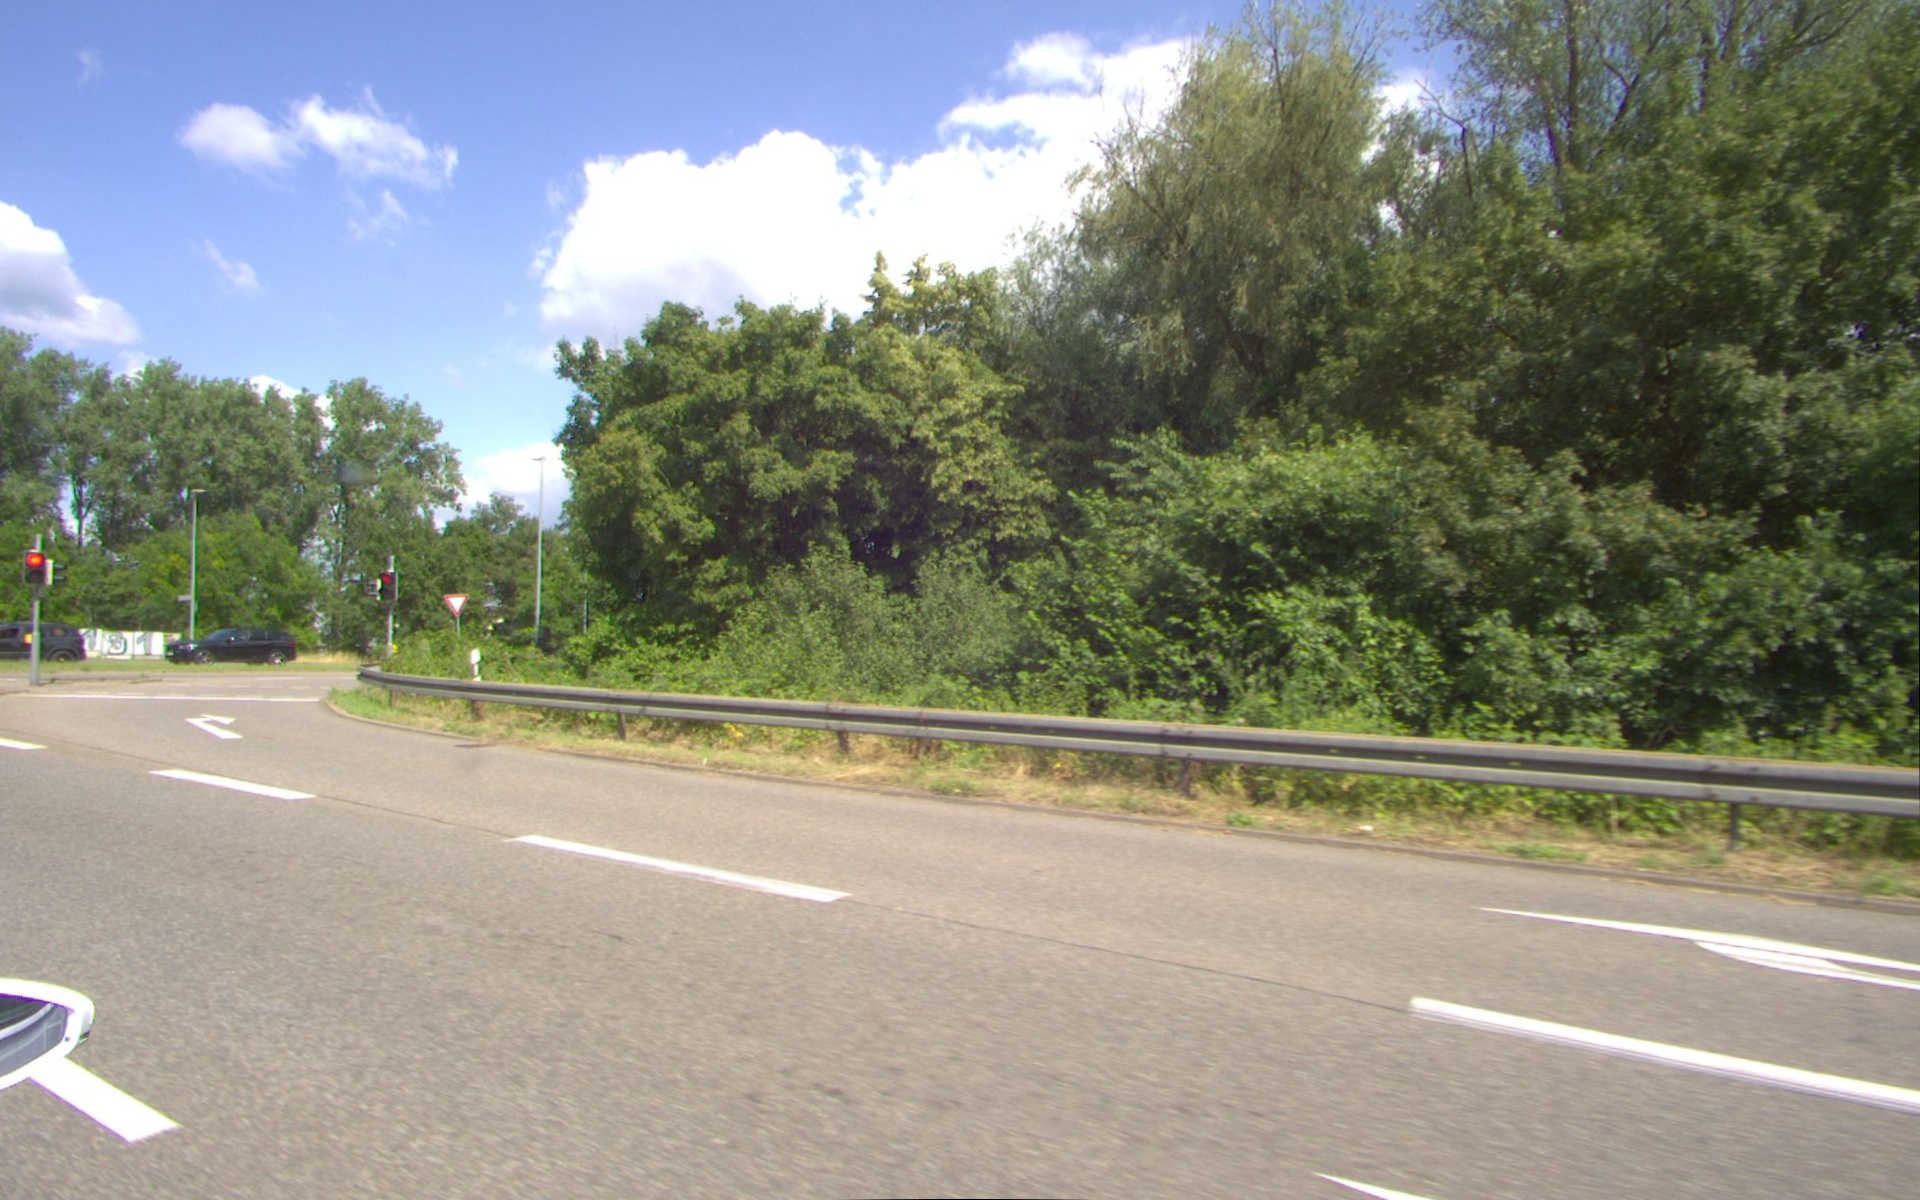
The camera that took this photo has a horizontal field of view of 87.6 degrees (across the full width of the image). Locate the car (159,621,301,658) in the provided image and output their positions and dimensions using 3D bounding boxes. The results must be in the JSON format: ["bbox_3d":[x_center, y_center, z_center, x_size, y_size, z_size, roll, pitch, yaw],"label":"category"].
[{"bbox_3d":[-32.436,1.770,44.638,1.711,1.564,4.844,0,-2,29],"label":"car"}]

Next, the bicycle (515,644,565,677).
[{"bbox_3d":[-13.965,2.001,33.372,0.659,1.036,2.060,1,-2,4],"label":"bicycle"}]

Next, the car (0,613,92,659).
[{"bbox_3d":[-33.222,1.234,34.825,1.711,1.564,4.265,0,-2,30],"label":"car"}]

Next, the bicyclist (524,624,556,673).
[{"bbox_3d":[-13.970,1.608,33.314,0.659,1.580,0.837,1,-2,4],"label":"bicyclist"}]
